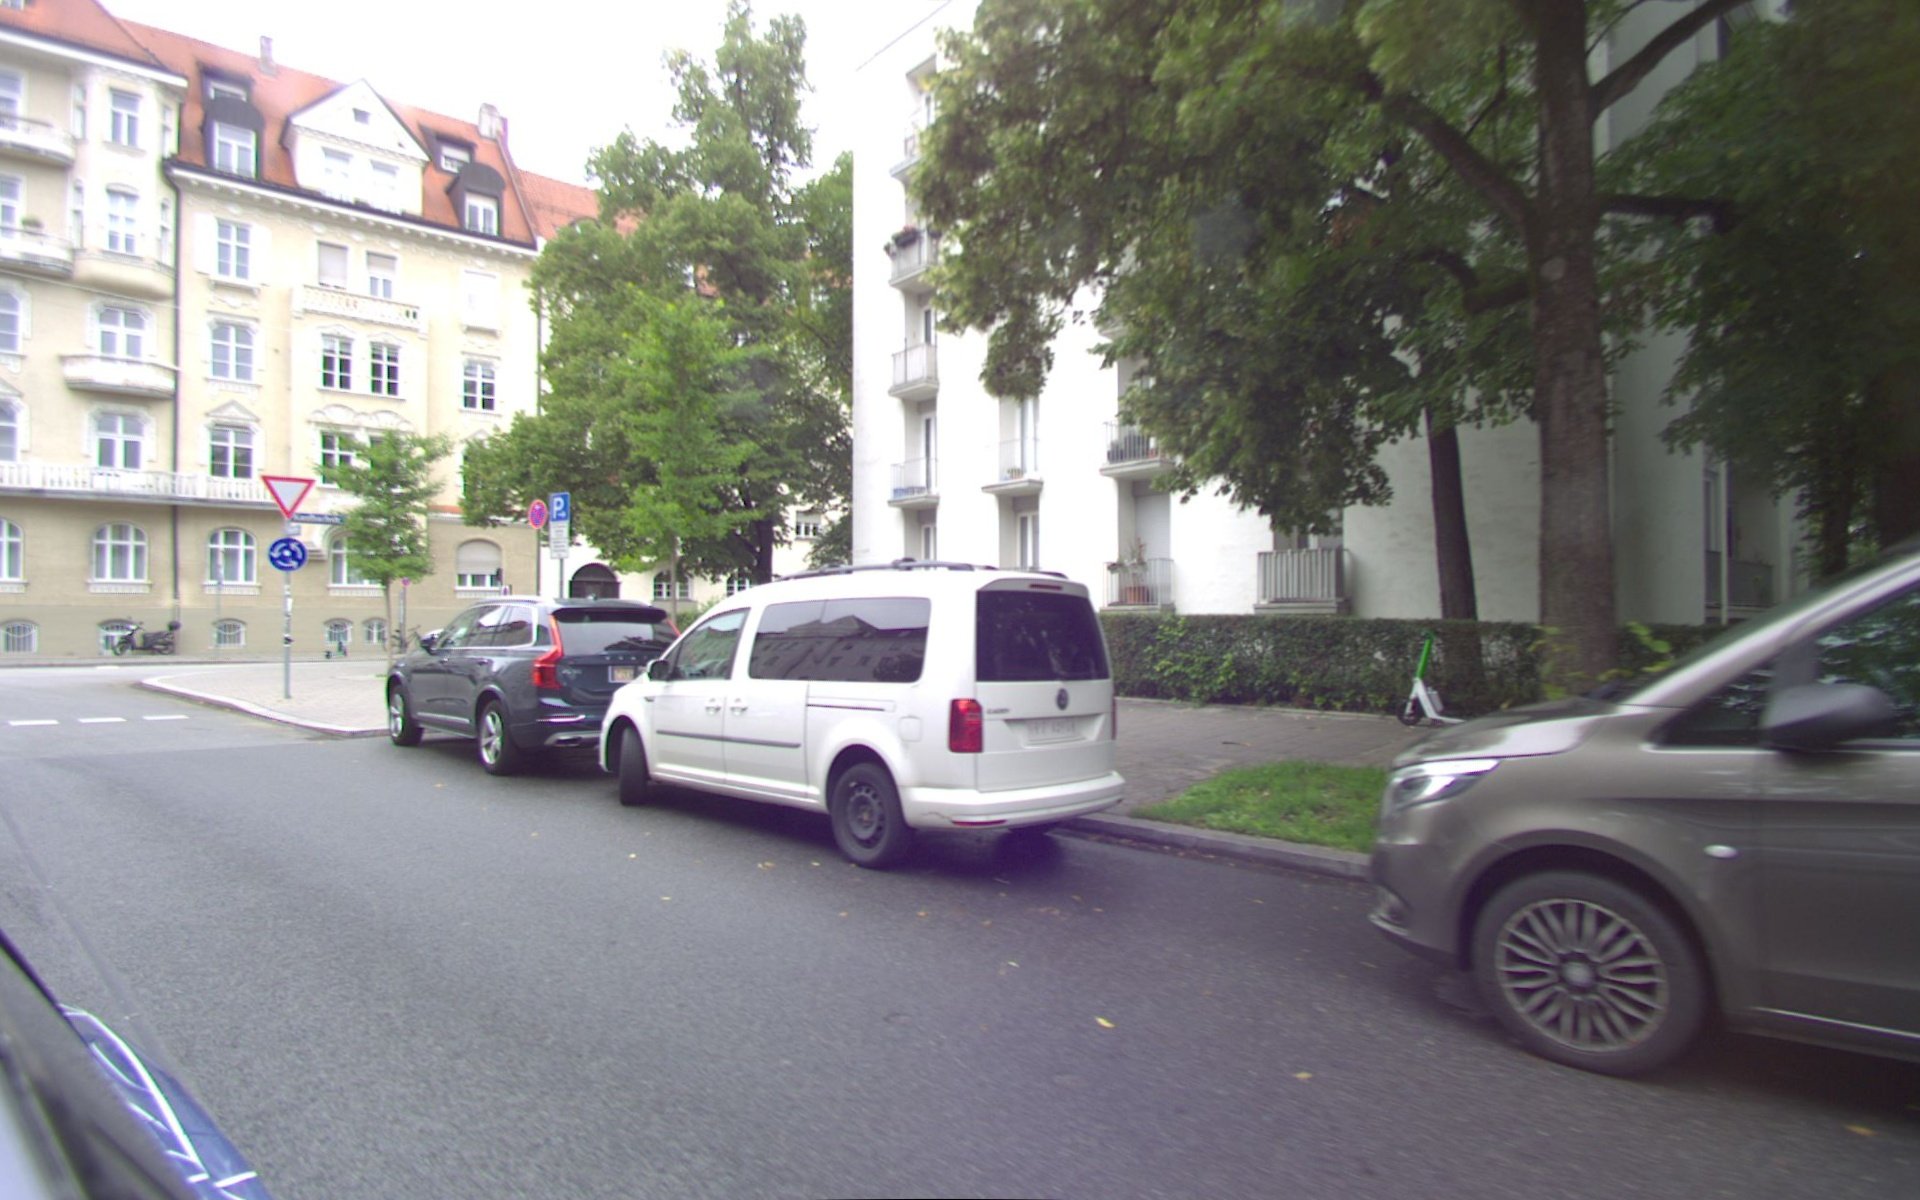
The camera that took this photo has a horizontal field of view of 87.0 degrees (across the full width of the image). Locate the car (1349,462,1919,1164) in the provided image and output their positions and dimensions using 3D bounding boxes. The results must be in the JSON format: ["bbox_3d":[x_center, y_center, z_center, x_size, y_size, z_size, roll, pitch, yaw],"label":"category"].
[{"bbox_3d":[4.246,0.600,2.711,5.664,1.922,2.005,-1,-3,41],"label":"car"}]

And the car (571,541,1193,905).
[{"bbox_3d":[-0.883,0.697,7.778,4.859,1.918,2.060,-1,-2,44],"label":"car"}]

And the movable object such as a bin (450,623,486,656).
[{"bbox_3d":[-20.959,1.687,43.092,1.162,1.381,1.150,1,-2,-39],"label":"movable object such as a bin"}]

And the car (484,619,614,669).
[{"bbox_3d":[-13.486,1.430,33.315,3.620,1.540,1.677,1,-4,-42],"label":"car"}]

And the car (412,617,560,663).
[{"bbox_3d":[-18.645,1.529,39.951,4.914,1.688,2.002,1,-2,-42],"label":"car"}]

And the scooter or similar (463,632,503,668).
[{"bbox_3d":[-14.098,1.463,29.904,1.309,1.032,0.522,-1,-2,37],"label":"scooter or similar"}]

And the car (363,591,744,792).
[{"bbox_3d":[-4.771,0.839,11.356,2.060,1.732,5.308,1,-2,-45],"label":"car"}]

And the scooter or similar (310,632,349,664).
[{"bbox_3d":[-22.879,1.721,36.742,0.535,1.117,1.345,0,-1,4],"label":"scooter or similar"}]

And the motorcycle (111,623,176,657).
[{"bbox_3d":[-29.119,1.418,36.116,1.720,1.195,0.743,1,-2,-45],"label":"motorcycle"}]

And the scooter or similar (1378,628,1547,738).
[{"bbox_3d":[5.869,0.928,11.876,1.657,1.200,0.694,-1,-2,41],"label":"scooter or similar"}]

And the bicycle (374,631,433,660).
[{"bbox_3d":[-21.830,1.772,39.732,0.653,1.077,1.949,-1,-2,40],"label":"bicycle"}]
